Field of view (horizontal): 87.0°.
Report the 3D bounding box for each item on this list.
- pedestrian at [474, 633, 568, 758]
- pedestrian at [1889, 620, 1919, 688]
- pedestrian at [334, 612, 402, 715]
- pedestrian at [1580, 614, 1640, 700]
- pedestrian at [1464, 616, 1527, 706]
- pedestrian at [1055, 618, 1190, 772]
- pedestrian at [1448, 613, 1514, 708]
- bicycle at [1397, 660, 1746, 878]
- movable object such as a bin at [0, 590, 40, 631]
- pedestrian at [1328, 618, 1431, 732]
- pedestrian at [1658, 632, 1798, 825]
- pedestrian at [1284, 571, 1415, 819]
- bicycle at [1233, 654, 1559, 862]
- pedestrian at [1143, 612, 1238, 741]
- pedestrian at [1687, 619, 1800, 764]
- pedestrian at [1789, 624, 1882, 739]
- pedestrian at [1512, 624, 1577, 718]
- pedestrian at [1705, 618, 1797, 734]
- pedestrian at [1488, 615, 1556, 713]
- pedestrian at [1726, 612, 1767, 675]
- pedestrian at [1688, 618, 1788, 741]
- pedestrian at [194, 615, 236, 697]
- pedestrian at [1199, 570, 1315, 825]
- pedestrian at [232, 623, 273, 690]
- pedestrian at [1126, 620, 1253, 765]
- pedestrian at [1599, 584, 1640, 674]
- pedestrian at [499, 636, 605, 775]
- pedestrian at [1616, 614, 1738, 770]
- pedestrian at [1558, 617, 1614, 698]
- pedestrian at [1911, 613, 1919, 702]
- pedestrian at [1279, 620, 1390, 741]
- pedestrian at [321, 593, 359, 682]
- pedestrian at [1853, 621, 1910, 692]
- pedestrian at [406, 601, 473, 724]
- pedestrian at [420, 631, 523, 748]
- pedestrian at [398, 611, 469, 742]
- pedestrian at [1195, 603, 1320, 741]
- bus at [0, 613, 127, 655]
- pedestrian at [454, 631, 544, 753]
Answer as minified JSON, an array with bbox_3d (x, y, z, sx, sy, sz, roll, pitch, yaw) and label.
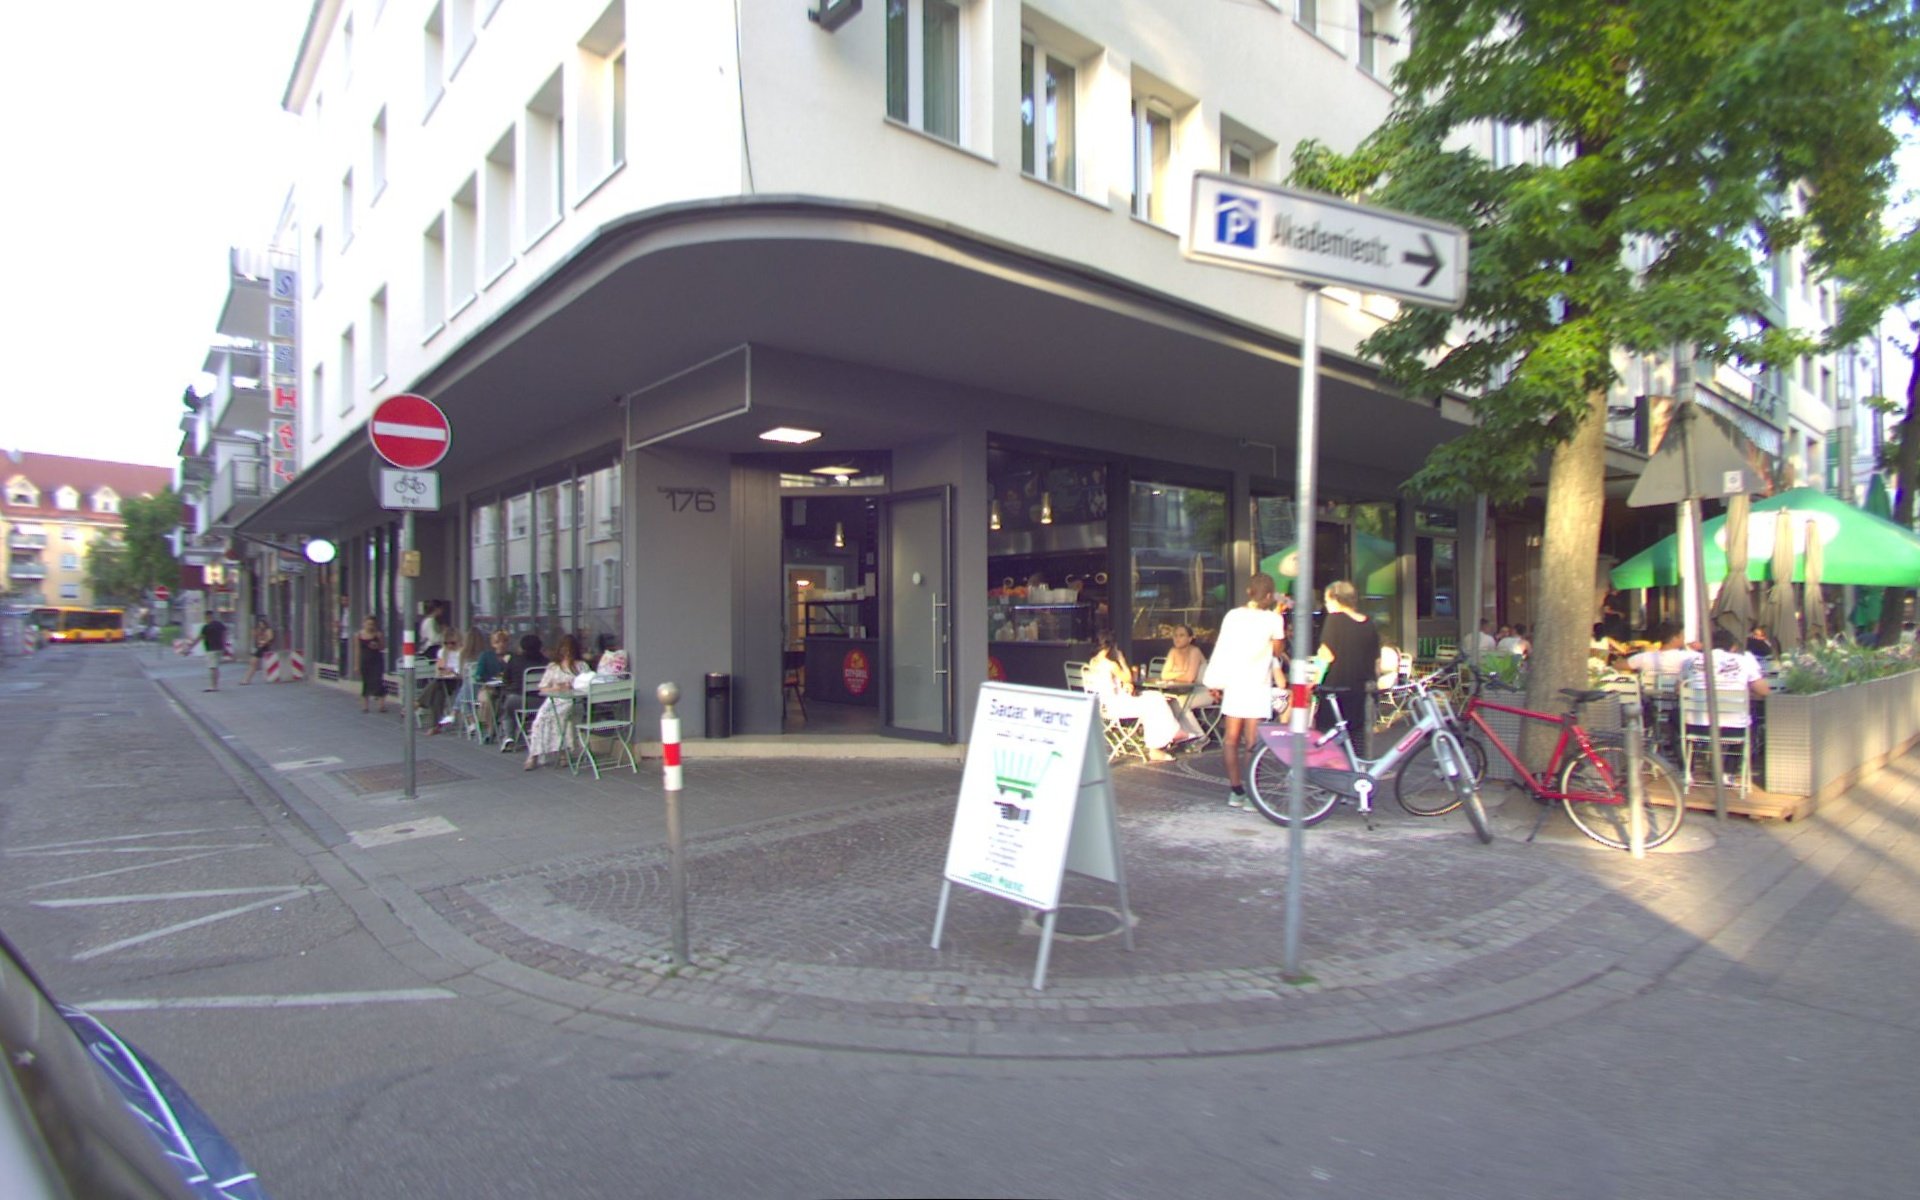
[{"bbox_3d":[-4.614,0.968,10.628,0.695,1.204,0.692,-4,1,-38],"label":"pedestrian"},{"bbox_3d":[19.265,1.087,20.432,0.719,1.356,0.647,2,-2,-40],"label":"pedestrian"},{"bbox_3d":[-9.351,0.989,16.002,0.634,1.581,0.653,-2,-1,23],"label":"pedestrian"},{"bbox_3d":[10.849,0.940,16.894,0.753,1.389,0.657,2,-2,-41],"label":"pedestrian"},{"bbox_3d":[8.498,0.946,16.064,0.753,1.389,0.657,2,-2,-41],"label":"pedestrian"},{"bbox_3d":[1.508,0.841,9.419,0.867,1.330,0.890,2,-2,-38],"label":"pedestrian"},{"bbox_3d":[7.922,0.900,15.398,0.753,1.389,0.657,2,-2,-41],"label":"pedestrian"},{"bbox_3d":[3.929,1.012,6.636,0.617,1.148,1.868,2,-2,-43],"label":"bicycle"},{"bbox_3d":[-64.088,0.739,68.819,2.065,2.666,4.379,-1,-1,-40],"label":"movable object such as a bin"},{"bbox_3d":[5.174,0.893,12.495,0.867,1.330,0.852,2,-1,-37],"label":"pedestrian"},{"bbox_3d":[5.975,0.948,7.877,0.780,1.388,0.696,1,-1,-39],"label":"pedestrian"},{"bbox_3d":[2.887,0.679,7.565,0.772,1.754,0.640,0,-1,7],"label":"pedestrian"},{"bbox_3d":[2.785,0.962,6.638,1.854,1.148,0.775,0,-1,22],"label":"bicycle"},{"bbox_3d":[2.507,0.805,11.008,0.828,1.330,0.625,2,-2,-38],"label":"pedestrian"},{"bbox_3d":[7.885,0.884,10.192,0.858,1.372,0.719,1,-1,-39],"label":"pedestrian"},{"bbox_3d":[11.035,0.997,12.757,0.996,1.372,0.719,1,-1,-39],"label":"pedestrian"},{"bbox_3d":[8.977,1.075,15.539,0.753,1.389,0.657,2,-2,-41],"label":"pedestrian"},{"bbox_3d":[9.870,0.920,12.632,0.910,1.372,0.719,1,-1,-39],"label":"pedestrian"},{"bbox_3d":[8.202,0.914,14.776,0.753,1.389,0.657,2,-2,-41],"label":"pedestrian"},{"bbox_3d":[17.830,0.983,22.951,0.638,1.389,0.608,2,-2,-41],"label":"pedestrian"},{"bbox_3d":[9.121,0.897,11.863,0.996,1.372,0.719,1,-1,-39],"label":"pedestrian"},{"bbox_3d":[-16.895,1.245,22.947,0.695,1.795,0.934,0,-1,-41],"label":"pedestrian"},{"bbox_3d":[2.178,0.676,7.415,0.775,1.754,0.638,0,-1,19],"label":"pedestrian"},{"bbox_3d":[-17.371,1.376,24.838,0.700,1.590,0.614,-2,0,-44],"label":"pedestrian"},{"bbox_3d":[2.253,0.865,9.937,0.867,1.330,0.852,2,-1,-37],"label":"pedestrian"},{"bbox_3d":[13.384,0.575,20.558,0.654,1.779,0.757,0,-1,31],"label":"pedestrian"},{"bbox_3d":[-3.838,0.968,9.580,0.696,1.228,0.842,-1,-1,-4],"label":"pedestrian"},{"bbox_3d":[6.760,0.825,9.538,0.910,1.372,0.719,1,-1,-39],"label":"pedestrian"},{"bbox_3d":[11.116,1.007,17.977,0.753,1.389,0.657,2,-2,-41],"label":"pedestrian"},{"bbox_3d":[15.240,0.898,15.762,0.556,1.389,0.550,2,-2,-41],"label":"pedestrian"},{"bbox_3d":[4.374,0.908,11.828,0.867,1.330,0.890,2,-2,-38],"label":"pedestrian"},{"bbox_3d":[-12.845,0.773,20.972,0.537,1.824,0.614,2,-3,-41],"label":"pedestrian"},{"bbox_3d":[17.033,1.023,18.709,0.590,1.274,0.712,2,-2,-40],"label":"pedestrian"},{"bbox_3d":[-7.768,0.912,15.096,0.771,1.753,0.761,-1,-2,-33],"label":"pedestrian"},{"bbox_3d":[-5.736,1.031,11.898,0.856,1.296,0.700,-2,-1,25],"label":"pedestrian"},{"bbox_3d":[-6.610,0.932,12.697,0.694,1.559,0.863,-1,-1,-33],"label":"pedestrian"},{"bbox_3d":[3.051,0.711,10.392,0.867,1.330,0.890,2,-2,-38],"label":"pedestrian"},{"bbox_3d":[-77.013,2.843,87.234,3.857,3.350,12.573,1,-1,-19],"label":"bus"},{"bbox_3d":[-5.153,0.998,11.307,0.695,1.249,0.779,-4,1,-38],"label":"pedestrian"}]
